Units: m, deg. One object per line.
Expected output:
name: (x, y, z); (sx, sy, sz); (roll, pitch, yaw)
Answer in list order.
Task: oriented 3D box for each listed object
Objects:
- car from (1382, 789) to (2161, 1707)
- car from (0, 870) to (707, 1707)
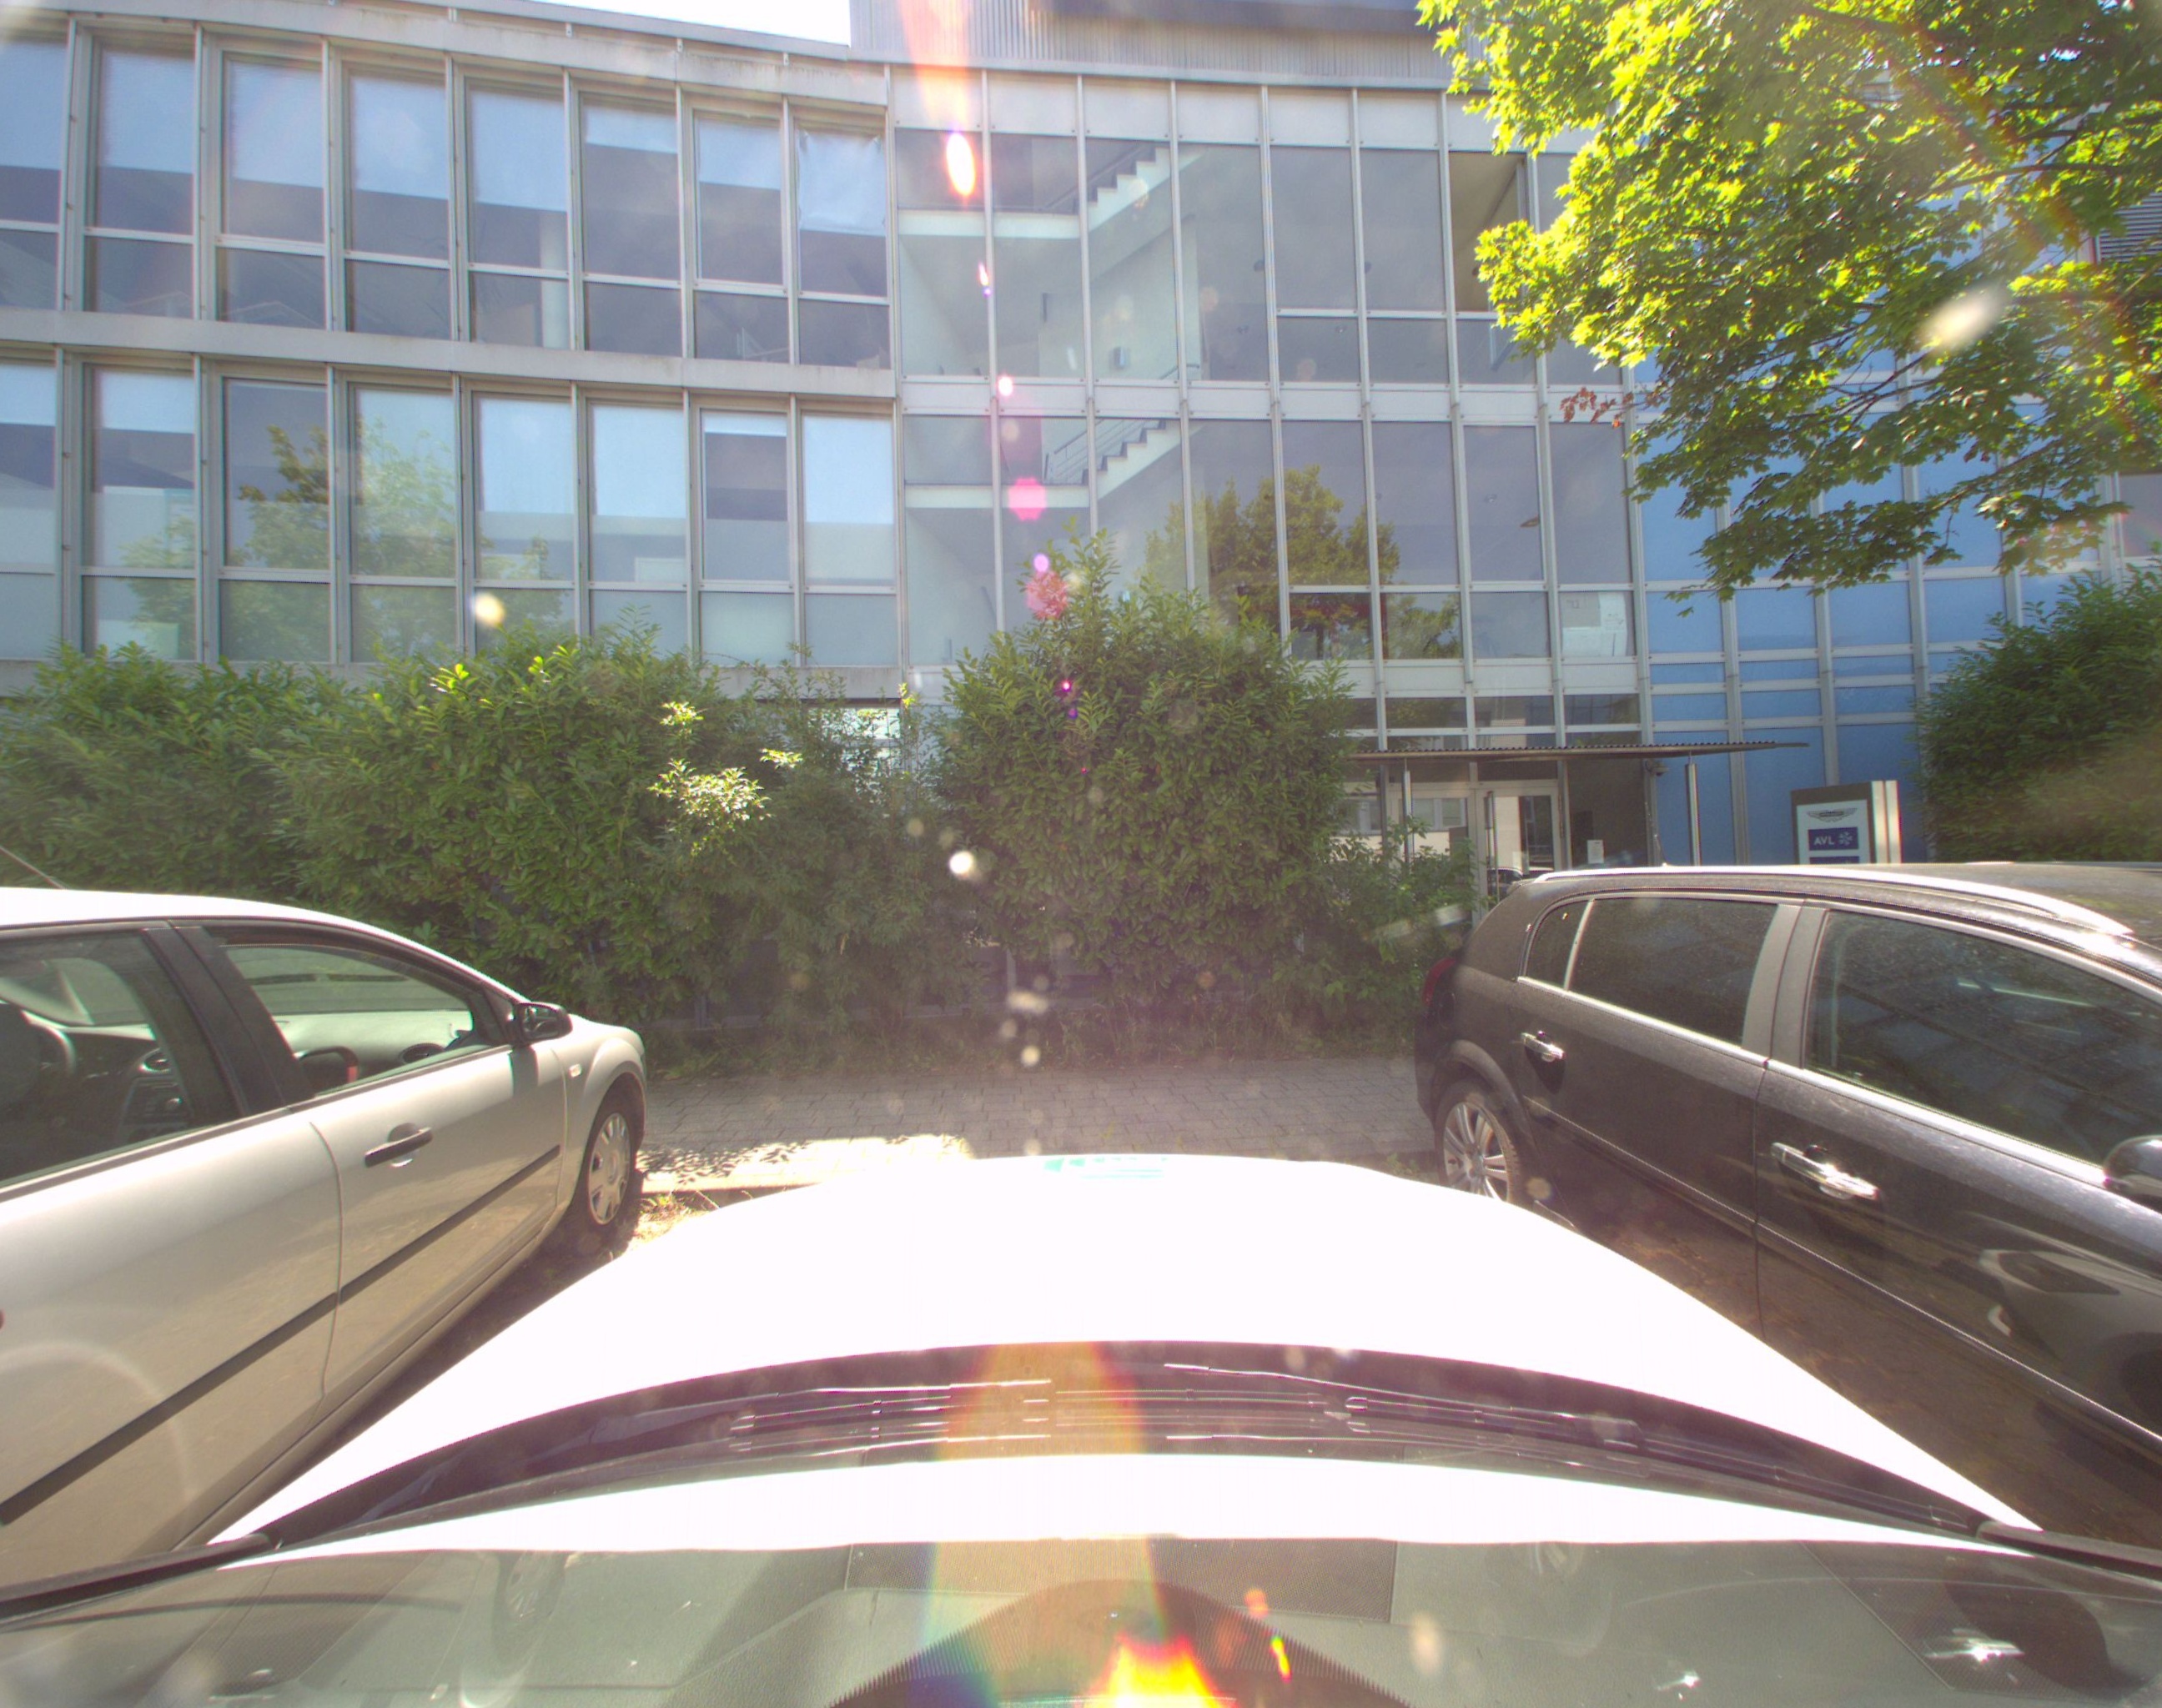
car: (2.452, 0.675, 1.749); (1.754, 1.549, 4.561); (-1, -1, -2)
car: (-2.438, 0.794, 1.756); (1.718, 1.479, 4.337); (-1, -1, -7)
